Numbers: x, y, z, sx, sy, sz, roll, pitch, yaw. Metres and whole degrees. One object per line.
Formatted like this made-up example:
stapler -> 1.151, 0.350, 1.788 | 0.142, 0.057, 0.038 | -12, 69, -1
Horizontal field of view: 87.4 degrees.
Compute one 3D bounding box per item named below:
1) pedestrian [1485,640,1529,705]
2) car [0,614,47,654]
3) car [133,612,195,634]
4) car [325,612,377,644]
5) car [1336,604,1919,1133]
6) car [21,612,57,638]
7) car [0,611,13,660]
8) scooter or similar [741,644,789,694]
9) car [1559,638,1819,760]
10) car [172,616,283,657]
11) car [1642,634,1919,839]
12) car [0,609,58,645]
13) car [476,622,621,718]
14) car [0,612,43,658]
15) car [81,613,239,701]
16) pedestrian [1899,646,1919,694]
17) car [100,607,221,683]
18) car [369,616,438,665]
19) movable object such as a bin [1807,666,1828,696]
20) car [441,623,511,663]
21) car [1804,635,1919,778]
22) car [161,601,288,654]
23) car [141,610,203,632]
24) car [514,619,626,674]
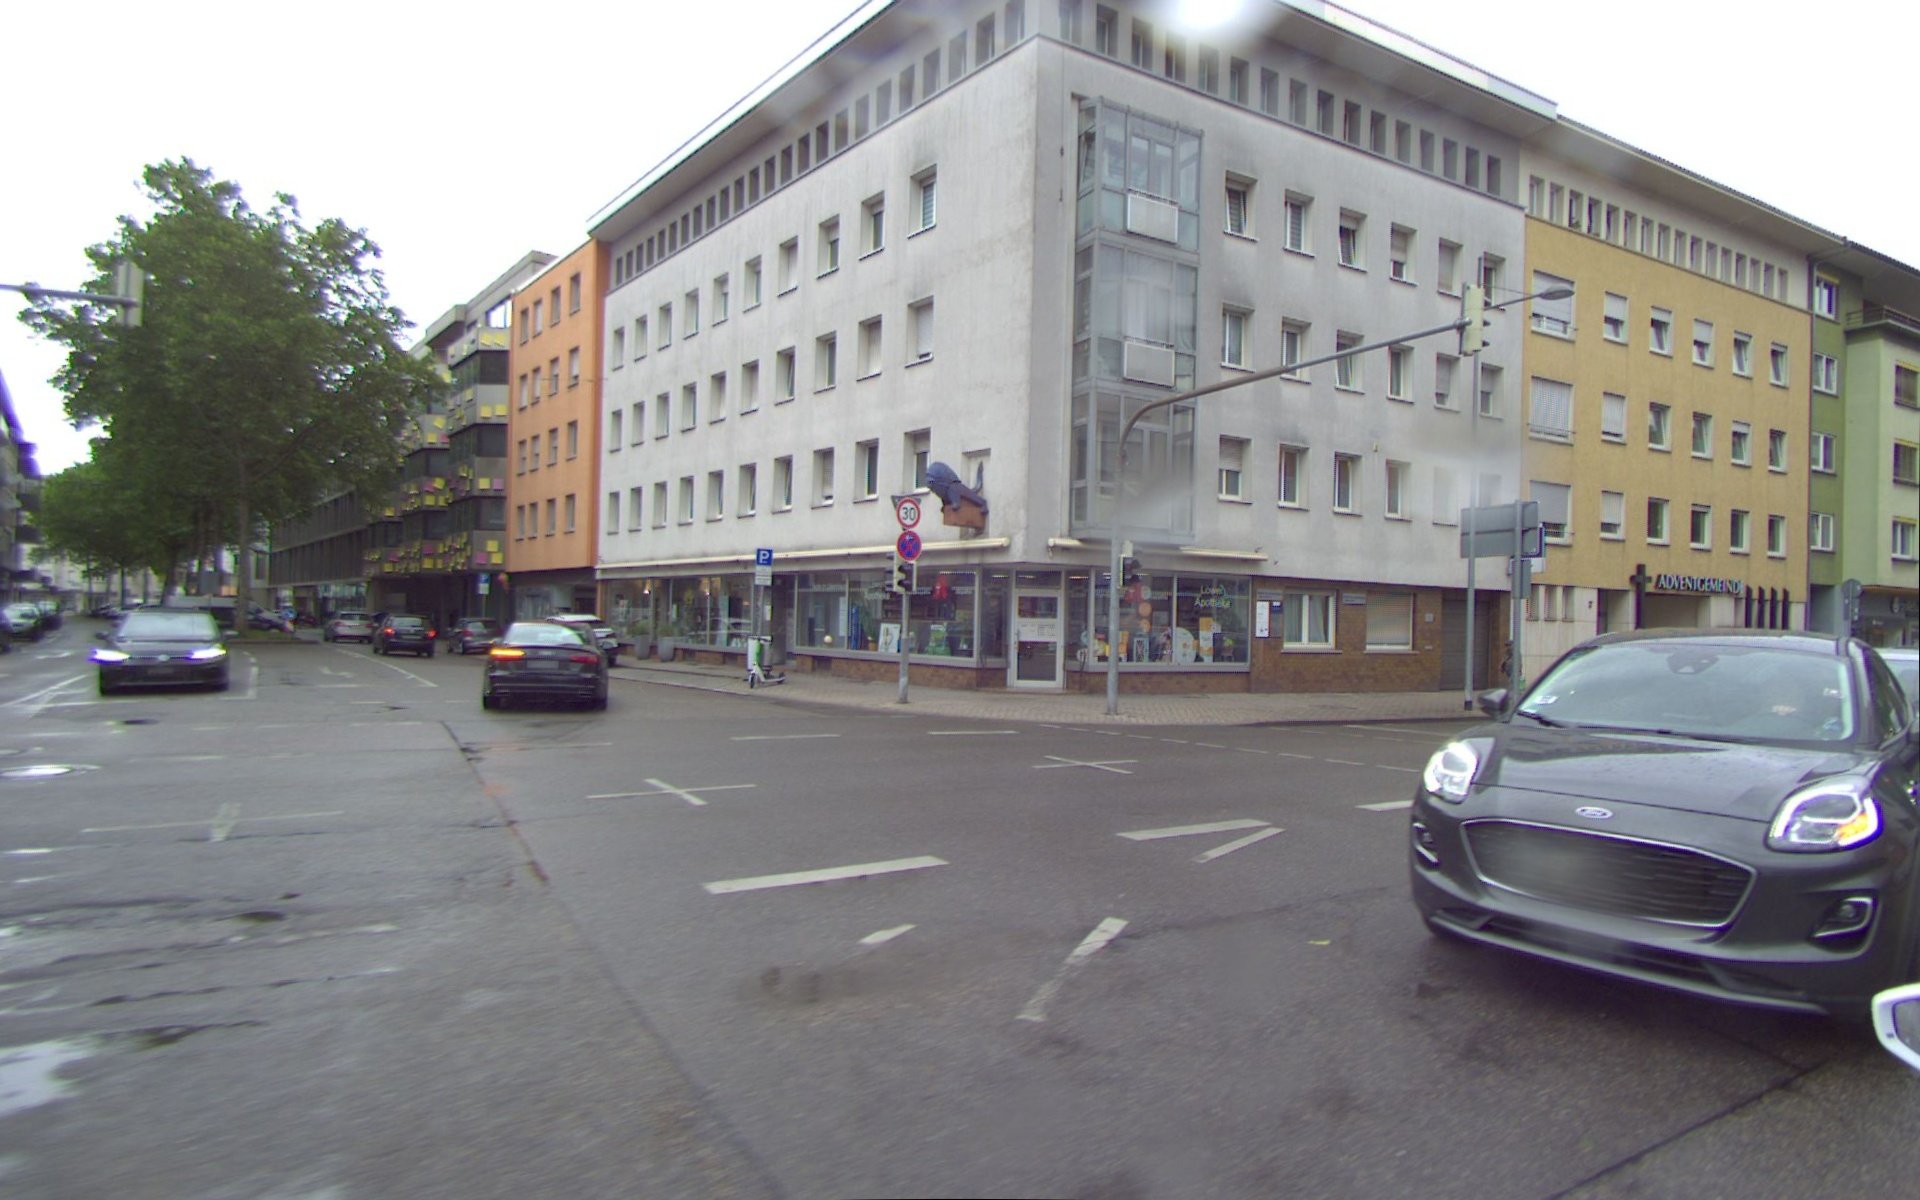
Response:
pedestrian -> 14.017, 1.843, 25.749 | 0.643, 1.602, 0.684 | 2, 1, -28
car -> -40.245, 1.429, 42.741 | 1.828, 1.510, 4.211 | 6, -4, -40
car -> -65.975, 1.909, 83.264 | 3.967, 1.684, 1.869 | 0, 1, -40
car -> -30.352, 1.393, 50.016 | 1.836, 1.491, 3.796 | 3, -2, -37
car -> 3.761, 0.905, 5.118 | 4.199, 1.573, 1.838 | 4, -3, -44
car -> -64.736, 1.750, 70.643 | 1.779, 1.595, 3.950 | 2, 0, -42
car -> -31.809, 1.058, 32.153 | 1.828, 1.510, 4.211 | 6, -4, -40
scooter or similar -> -4.590, 1.607, 23.695 | 0.360, 1.109, 1.130 | -1, -1, 38
car -> 11.535, 1.519, 15.826 | 4.324, 1.661, 1.811 | 4, -3, -31
car -> -32.885, 1.602, 45.129 | 3.965, 1.684, 1.870 | 0, 1, -39
car -> 8.549, 1.197, 9.712 | 4.094, 1.546, 1.922 | 4, -3, -35
car -> -44.322, 1.255, 47.790 | 1.828, 1.510, 4.211 | 6, -4, -40
car -> -6.975, 1.136, 17.254 | 1.970, 1.406, 4.478 | 3, -2, -21
car -> -35.197, 1.235, 37.016 | 1.828, 1.510, 4.211 | 6, -4, -40
car -> -14.494, 0.947, 18.431 | 2.027, 1.394, 4.296 | 1, -1, -36
pedestrian -> 37.149, 2.726, 38.876 | 0.864, 1.812, 0.861 | 2, 1, -29
car -> -18.690, 0.985, 23.672 | 2.027, 1.610, 4.607 | 1, -1, -36
car -> -20.150, 1.465, 36.330 | 1.682, 1.648, 3.960 | 4, -4, -35
movable object such as a bin -> 30.584, 2.883, 35.841 | 0.538, 1.019, 0.397 | 2, -1, -28
car -> -19.850, 1.752, 41.153 | 1.836, 1.491, 3.796 | 3, -2, -37
car -> 12.864, 1.364, 12.907 | 4.381, 1.629, 1.811 | 4, -3, -31
car -> -34.601, 1.244, 47.326 | 4.728, 2.337, 1.870 | 0, 1, -39
car -> -64.116, 1.654, 81.733 | 3.967, 1.684, 1.869 | 0, 1, -40
car -> -12.629, 1.465, 32.406 | 2.030, 1.652, 4.289 | 3, -3, -40
